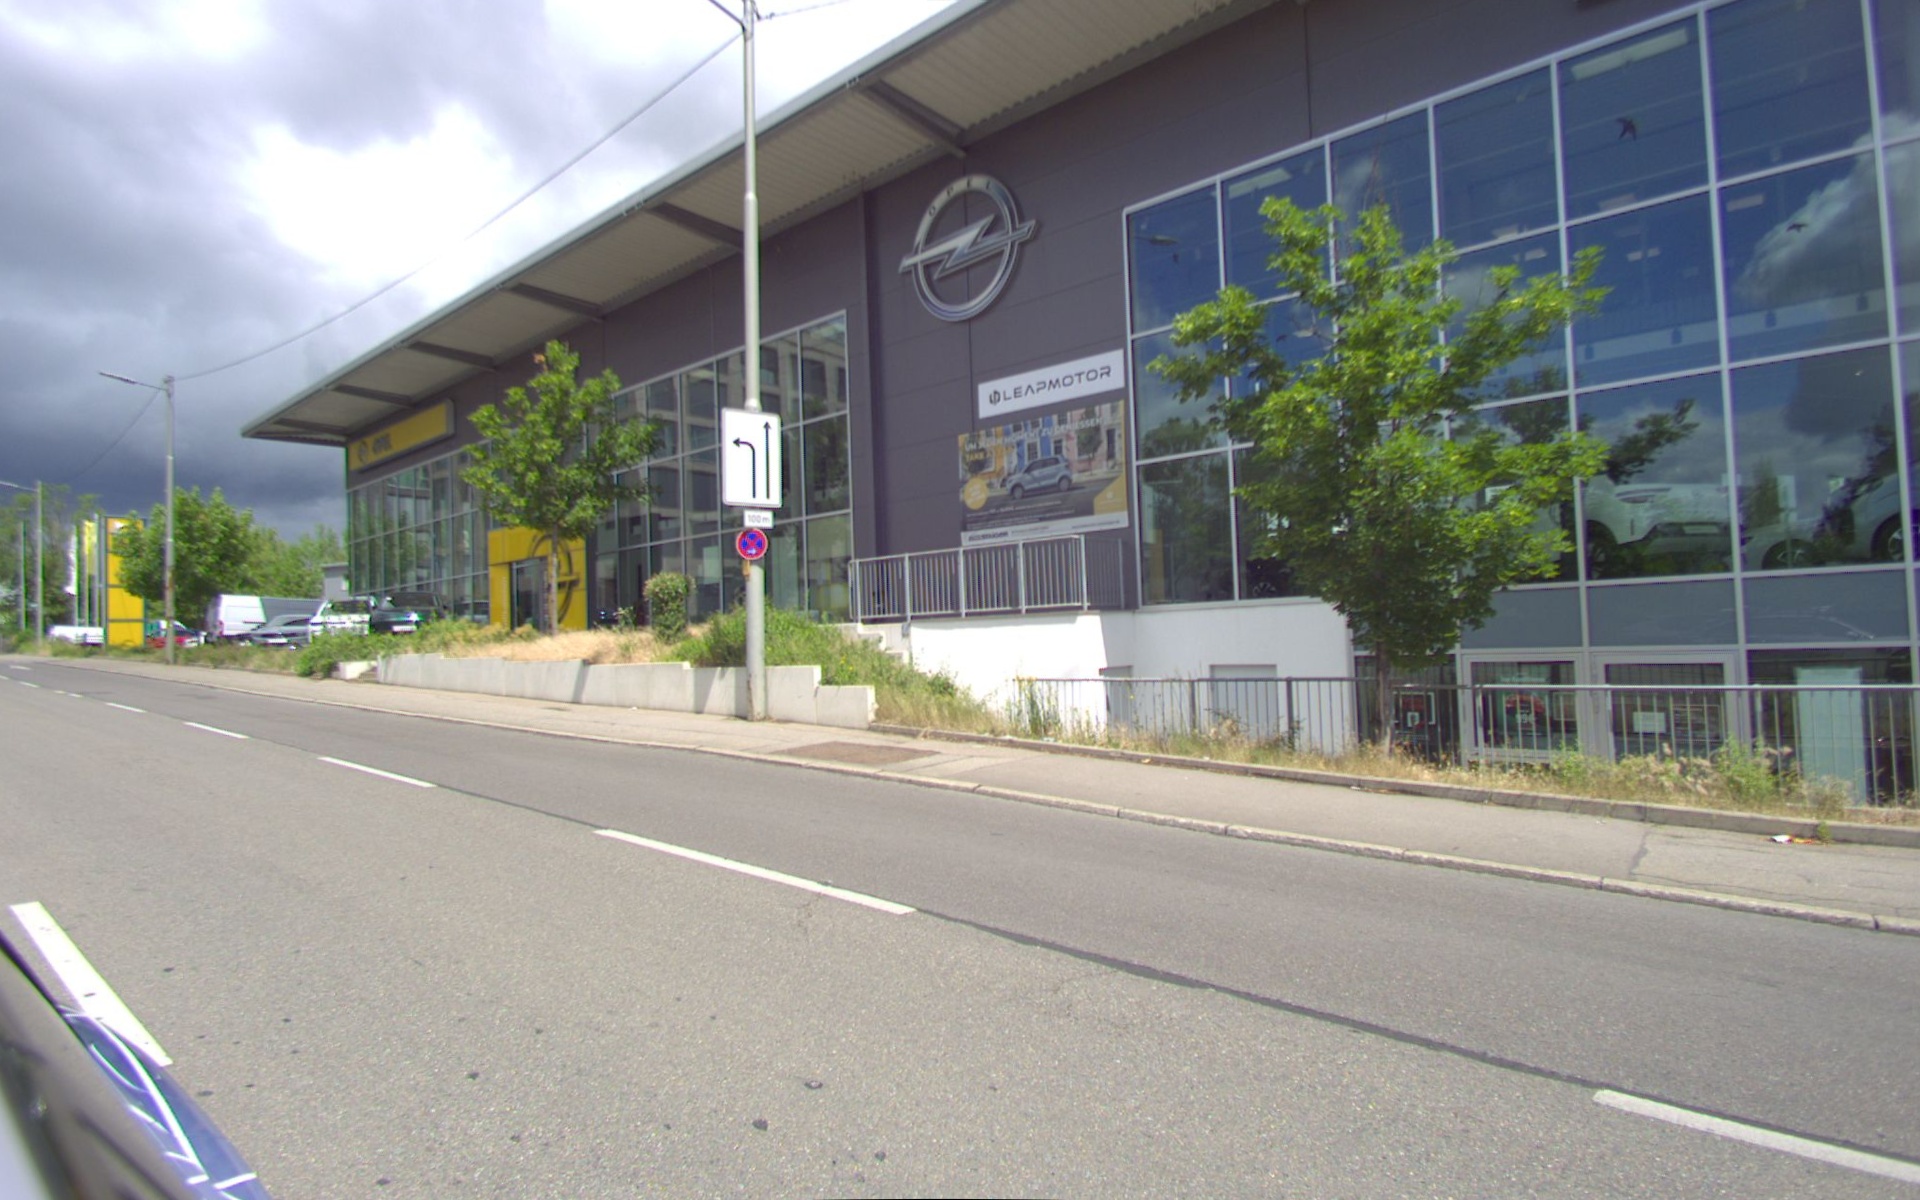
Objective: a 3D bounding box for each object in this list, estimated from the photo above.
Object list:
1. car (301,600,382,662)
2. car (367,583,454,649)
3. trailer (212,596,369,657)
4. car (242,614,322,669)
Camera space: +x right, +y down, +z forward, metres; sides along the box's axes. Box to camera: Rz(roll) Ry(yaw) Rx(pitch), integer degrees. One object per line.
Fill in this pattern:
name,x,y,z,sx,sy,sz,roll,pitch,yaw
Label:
car,-19.214,0.943,31.592,1.966,1.807,4.012,1,-2,-29
car,-15.688,0.467,28.803,1.966,1.741,4.011,1,-2,-31
trailer,-27.426,1.081,41.607,1.998,2.367,5.011,-1,-2,39
car,-23.479,1.402,35.154,1.966,1.807,4.012,1,-1,-29
